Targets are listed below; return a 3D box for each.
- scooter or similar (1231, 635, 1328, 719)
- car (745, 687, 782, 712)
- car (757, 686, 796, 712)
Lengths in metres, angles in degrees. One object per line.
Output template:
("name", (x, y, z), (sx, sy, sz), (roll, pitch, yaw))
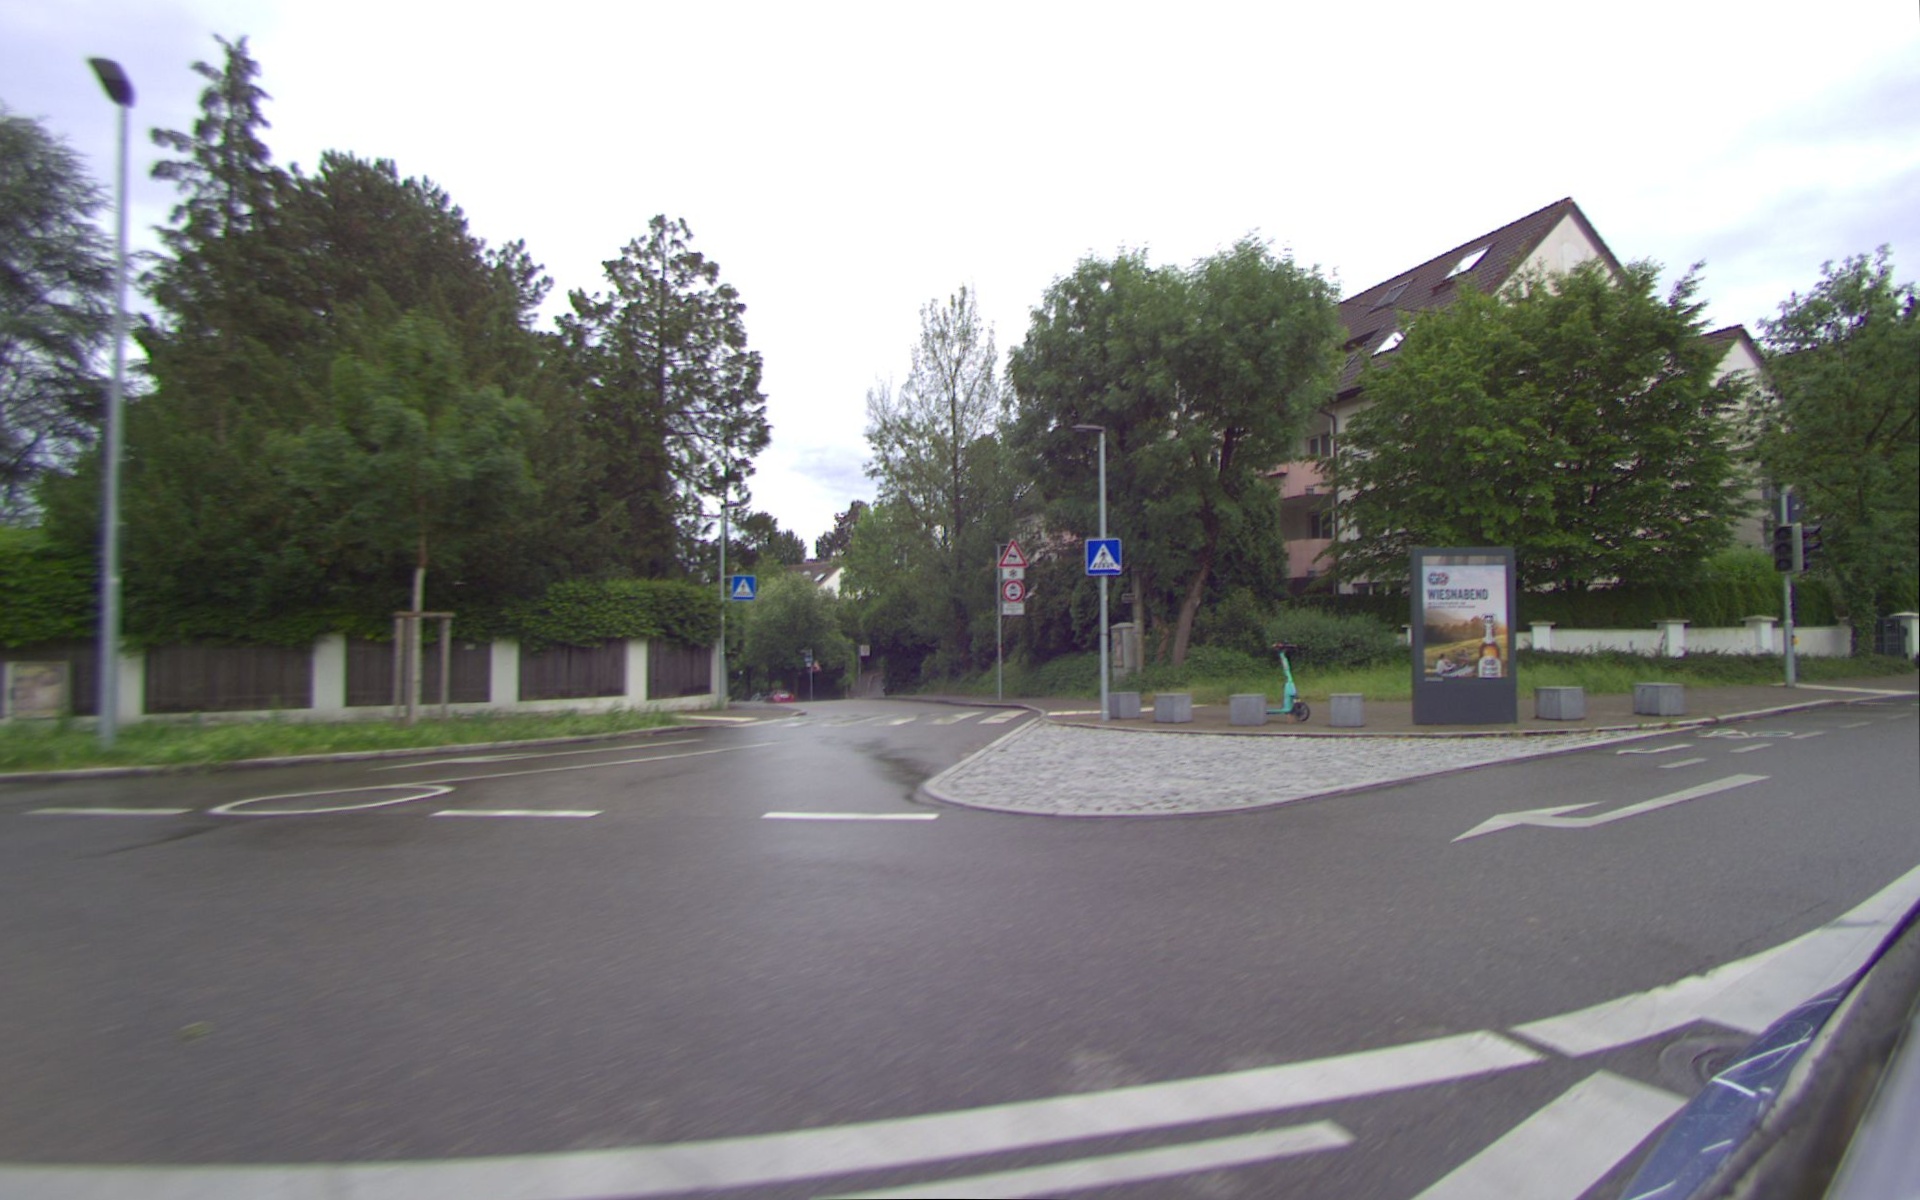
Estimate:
("scooter or similar", (4.959, 1.203, 15.792), (0.514, 1.223, 1.352), (-1, -4, -32))
("car", (-15.228, 7.665, 78.330), (1.958, 1.773, 4.004), (0, -5, -23))
("car", (-13.437, 7.256, 73.898), (1.958, 1.768, 4.004), (0, -6, -23))
